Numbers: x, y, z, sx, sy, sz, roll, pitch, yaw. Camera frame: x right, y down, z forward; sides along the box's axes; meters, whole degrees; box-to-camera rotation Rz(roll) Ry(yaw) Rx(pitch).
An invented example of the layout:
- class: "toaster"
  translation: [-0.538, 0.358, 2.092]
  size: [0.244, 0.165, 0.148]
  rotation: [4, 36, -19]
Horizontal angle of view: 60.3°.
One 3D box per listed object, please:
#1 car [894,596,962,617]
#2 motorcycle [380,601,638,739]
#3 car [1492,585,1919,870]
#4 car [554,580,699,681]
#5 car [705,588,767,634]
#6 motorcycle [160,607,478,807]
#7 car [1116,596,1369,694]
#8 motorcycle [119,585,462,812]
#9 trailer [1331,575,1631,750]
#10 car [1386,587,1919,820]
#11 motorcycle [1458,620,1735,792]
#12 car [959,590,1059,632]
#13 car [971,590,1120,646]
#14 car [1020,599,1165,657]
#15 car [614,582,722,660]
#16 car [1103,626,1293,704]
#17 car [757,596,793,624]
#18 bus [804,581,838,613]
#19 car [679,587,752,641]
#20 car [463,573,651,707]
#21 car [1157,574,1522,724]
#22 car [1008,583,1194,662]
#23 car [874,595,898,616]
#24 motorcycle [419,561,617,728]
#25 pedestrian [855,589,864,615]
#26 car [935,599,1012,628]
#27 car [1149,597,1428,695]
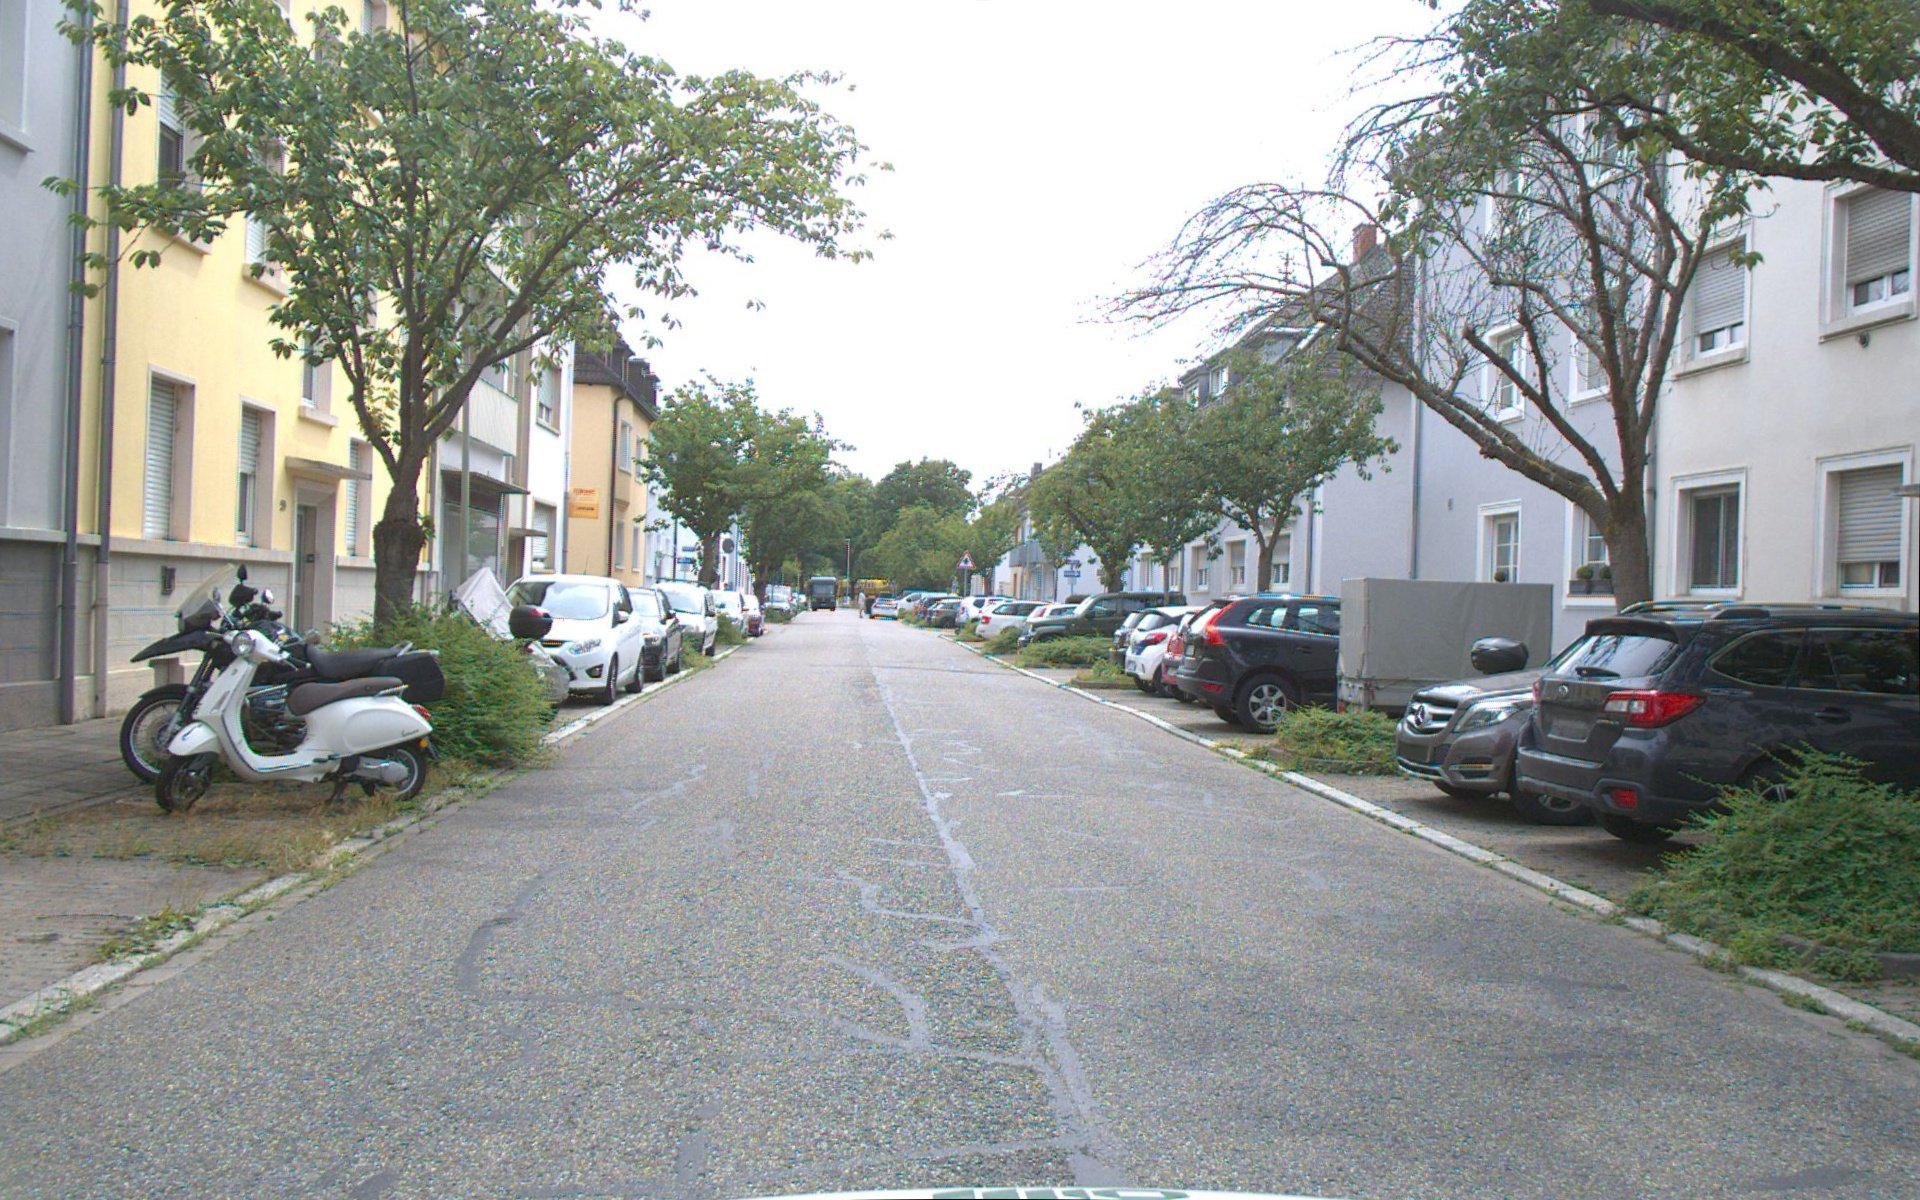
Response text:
- class: "car"
  translation: [-2.372, 0.475, 121.943]
  size: [4.879, 1.545, 1.766]
  rotation: [0, 0, -6]
- class: "motorcycle"
  translation: [-4.492, 0.685, 16.579]
  size: [2.400, 1.334, 0.643]
  rotation: [0, 0, -4]
- class: "car"
  translation: [5.813, 0.723, 10.671]
  size: [4.134, 1.626, 1.901]
  rotation: [0, 0, -7]
- class: "car"
  translation: [-5.601, 0.501, 28.318]
  size: [1.755, 1.518, 4.808]
  rotation: [2, -1, -4]
- class: "car"
  translation: [-7.722, 0.379, 57.446]
  size: [1.840, 1.512, 4.508]
  rotation: [0, 0, -4]
- class: "motorcycle"
  translation: [-4.194, 0.656, 10.876]
  size: [1.886, 1.212, 0.590]
  rotation: [0, 0, -31]
- class: "car"
  translation: [4.751, 0.736, 28.094]
  size: [3.911, 1.557, 1.765]
  rotation: [0, 0, -7]
- class: "motorcycle"
  translation: [-4.744, 0.647, 11.804]
  size: [2.209, 1.507, 0.590]
  rotation: [0, 0, -31]
- class: "trailer"
  translation: [5.773, 0.674, 18.515]
  size: [2.900, 1.863, 1.400]
  rotation: [0, 0, -1]
- class: "car"
  translation: [5.650, 0.728, 12.856]
  size: [4.134, 1.626, 1.901]
  rotation: [0, 0, -7]
- class: "motorcycle"
  translation: [5.607, 0.928, 14.617]
  size: [2.183, 1.434, 0.714]
  rotation: [1, 0, -7]
- class: "car"
  translation: [1.937, 0.439, 66.296]
  size: [3.846, 1.661, 1.866]
  rotation: [0, 0, -4]
- class: "car"
  translation: [2.678, 0.561, 52.303]
  size: [4.523, 1.693, 1.891]
  rotation: [0, 0, -4]
- class: "car"
  translation: [3.490, 0.723, 43.853]
  size: [3.557, 1.480, 1.770]
  rotation: [0, 0, -9]
- class: "car"
  translation: [-6.422, 0.439, 36.782]
  size: [1.880, 1.609, 4.379]
  rotation: [0, 0, -4]
- class: "car"
  translation: [4.765, 1.288, 33.394]
  size: [3.474, 1.478, 1.807]
  rotation: [0, 0, -5]
- class: "car"
  translation: [-10.686, 0.584, 95.694]
  size: [1.727, 1.581, 3.730]
  rotation: [0, 0, -1]
- class: "bus"
  translation: [-12.627, -0.292, 150.685]
  size: [2.945, 2.809, 8.915]
  rotation: [0, 0, -5]
- class: "car"
  translation: [-7.637, 0.434, 52.044]
  size: [1.738, 1.415, 4.272]
  rotation: [7, -1, -3]
- class: "car"
  translation: [-5.239, 0.485, 22.025]
  size: [1.722, 1.583, 4.252]
  rotation: [1, 0, -4]
- class: "car"
  translation: [4.677, 0.591, 20.817]
  size: [4.130, 1.766, 1.903]
  rotation: [0, 0, -2]
- class: "car"
  translation: [3.455, 0.538, 41.150]
  size: [4.434, 1.890, 1.792]
  rotation: [0, 0, -2]
- class: "car"
  translation: [-5.099, 0.393, 113.485]
  size: [1.653, 1.378, 3.824]
  rotation: [0, 0, -3]
- class: "motorcycle"
  translation: [-4.892, 0.448, 18.206]
  size: [2.431, 1.705, 0.933]
  rotation: [2, 0, 43]
- class: "pedestrian"
  translation: [-6.836, 0.134, 112.504]
  size: [0.511, 1.734, 0.444]
  rotation: [0, 0, -1]
- class: "car"
  translation: [0.642, 0.679, 81.719]
  size: [3.673, 1.389, 1.772]
  rotation: [0, 0, -4]
- class: "car"
  translation: [5.066, 0.688, 25.779]
  size: [3.911, 1.435, 1.765]
  rotation: [0, 0, -7]
